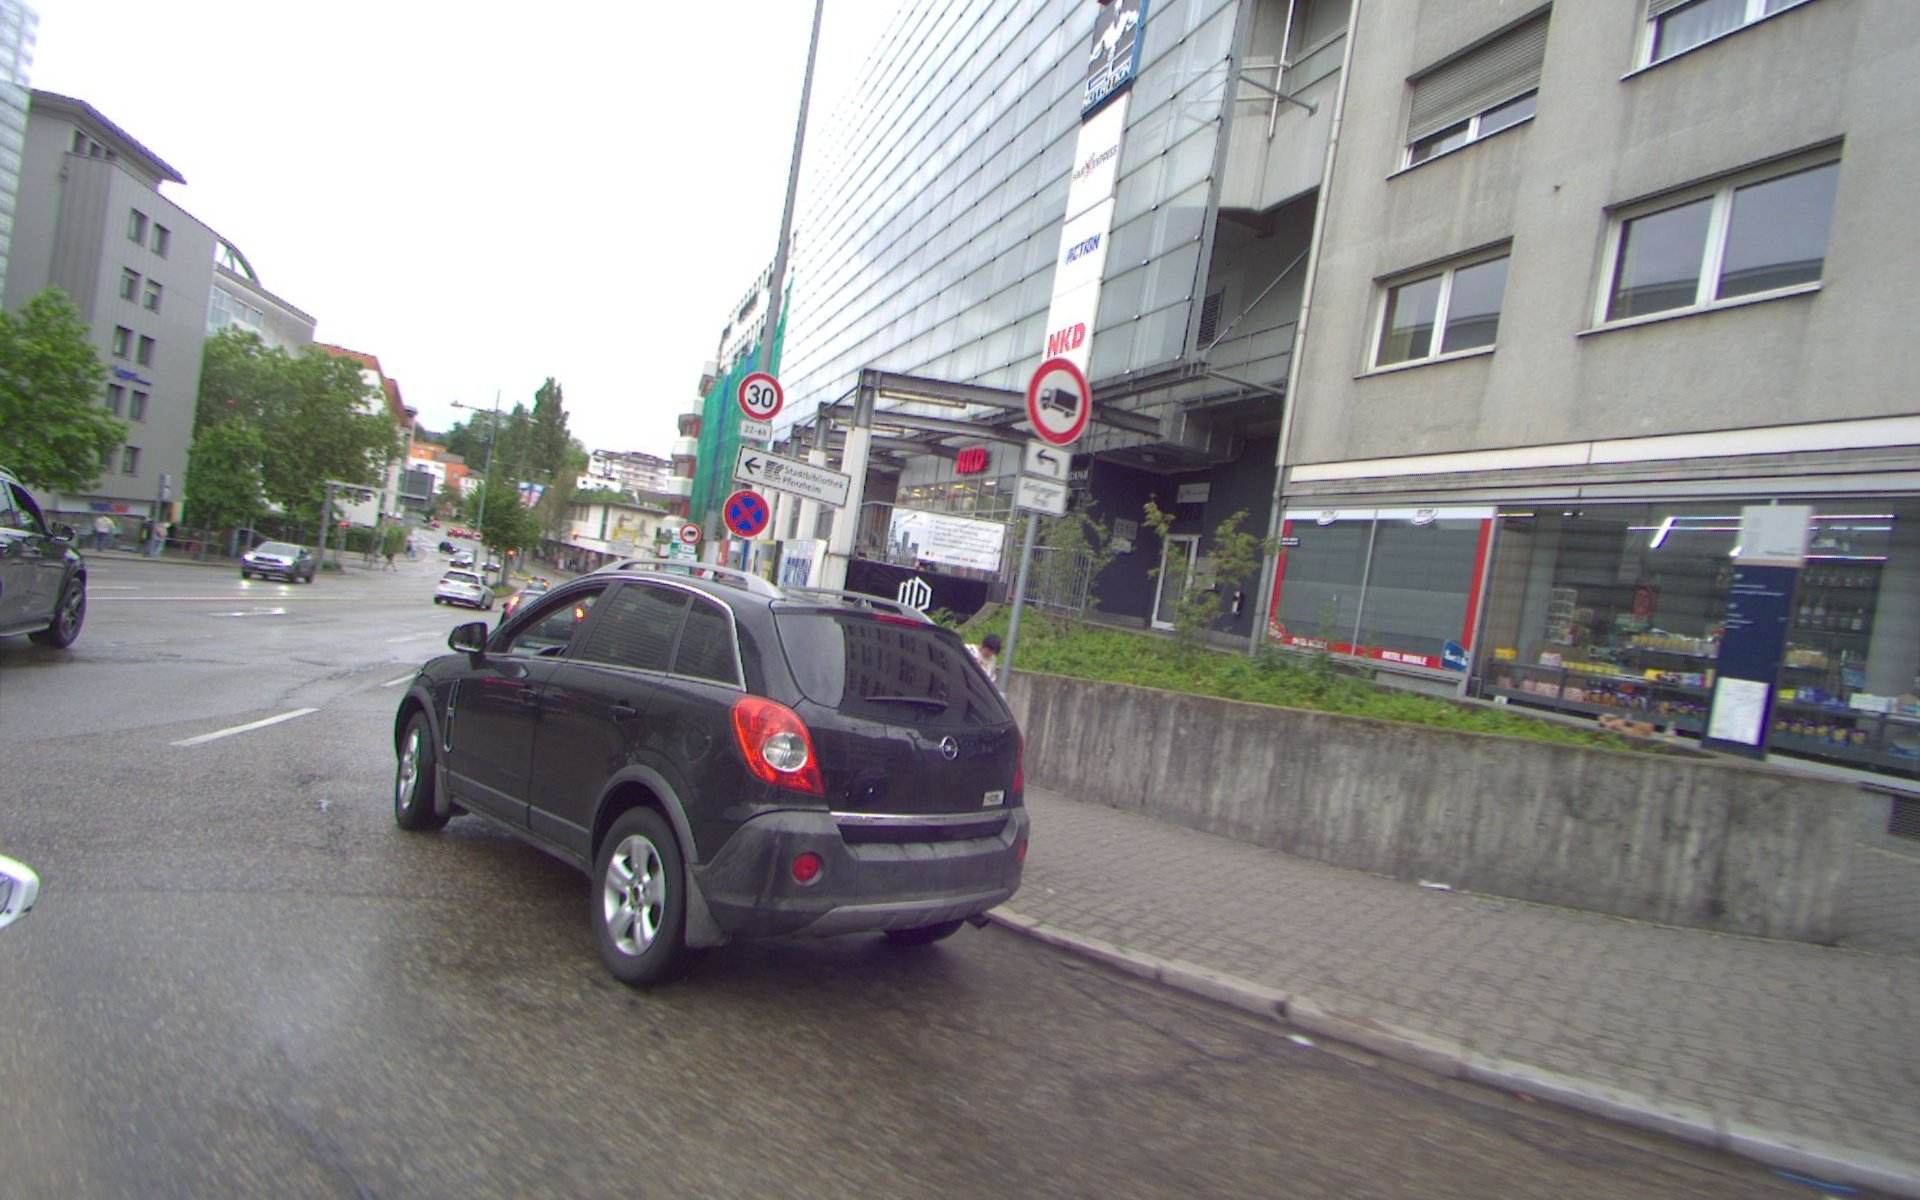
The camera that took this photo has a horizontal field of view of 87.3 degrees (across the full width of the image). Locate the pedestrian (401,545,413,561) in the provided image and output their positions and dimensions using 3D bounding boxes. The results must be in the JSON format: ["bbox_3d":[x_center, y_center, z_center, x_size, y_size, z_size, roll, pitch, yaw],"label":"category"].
[{"bbox_3d":[-61.801,-5.277,112.451,0.554,1.627,0.925,7,-1,30],"label":"pedestrian"}]

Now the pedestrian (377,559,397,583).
[{"bbox_3d":[-49.110,-2.502,86.204,1.049,1.904,0.836,7,0,-13],"label":"pedestrian"}]

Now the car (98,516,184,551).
[{"bbox_3d":[-66.638,-5.378,81.978,5.043,1.777,1.984,12,-3,-32],"label":"car"}]

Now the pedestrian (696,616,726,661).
[{"bbox_3d":[-7.297,1.134,29.530,0.681,1.222,0.553,7,0,-11],"label":"pedestrian"}]

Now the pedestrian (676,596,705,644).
[{"bbox_3d":[-10.543,0.776,39.315,0.824,1.743,0.828,7,-1,-11],"label":"pedestrian"}]

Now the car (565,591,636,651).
[{"bbox_3d":[-12.219,0.660,34.062,1.931,1.591,3.981,10,-2,-22],"label":"car"}]

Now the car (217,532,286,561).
[{"bbox_3d":[-60.562,-4.568,86.085,4.565,1.498,1.926,12,-3,-32],"label":"car"}]

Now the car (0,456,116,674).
[{"bbox_3d":[-9.484,-0.467,8.926,2.075,1.836,4.755,11,-3,-31],"label":"car"}]

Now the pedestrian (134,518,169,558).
[{"bbox_3d":[-37.228,-2.840,46.331,0.808,1.733,1.305,7,-1,-26],"label":"pedestrian"}]

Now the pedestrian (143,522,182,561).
[{"bbox_3d":[-39.684,-2.894,50.059,0.961,1.743,1.088,7,-1,-12],"label":"pedestrian"}]

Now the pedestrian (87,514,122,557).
[{"bbox_3d":[-38.356,-2.884,45.117,0.988,1.743,1.028,8,-1,-37],"label":"pedestrian"}]

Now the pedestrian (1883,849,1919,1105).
[{"bbox_3d":[4.392,1.162,3.918,0.773,1.894,0.616,4,5,-6],"label":"pedestrian"}]

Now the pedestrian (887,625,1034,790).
[{"bbox_3d":[-0.004,1.100,10.480,1.047,1.551,1.019,5,1,-30],"label":"pedestrian"}]

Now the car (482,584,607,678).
[{"bbox_3d":[-8.089,0.578,19.888,1.698,1.435,3.759,9,-3,-16],"label":"car"}]

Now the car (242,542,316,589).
[{"bbox_3d":[-27.094,-1.371,40.136,1.825,1.570,4.067,7,-1,-27],"label":"car"}]

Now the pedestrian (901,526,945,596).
[{"bbox_3d":[-0.961,-1.011,26.363,0.816,1.708,0.596,7,0,-20],"label":"pedestrian"}]

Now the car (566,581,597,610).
[{"bbox_3d":[-25.955,-0.345,68.931,1.744,1.560,3.980,9,-1,-22],"label":"car"}]

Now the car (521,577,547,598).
[{"bbox_3d":[-36.878,-1.125,87.198,1.777,1.485,3.980,10,-2,-22],"label":"car"}]

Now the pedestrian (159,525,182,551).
[{"bbox_3d":[-57.849,-4.528,73.743,0.746,1.743,0.951,7,-1,-6],"label":"pedestrian"}]

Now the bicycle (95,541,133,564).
[{"bbox_3d":[-48.083,-2.692,57.233,0.605,1.099,2.661,9,-2,-19],"label":"bicycle"}]

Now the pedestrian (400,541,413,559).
[{"bbox_3d":[-62.648,-5.663,113.852,0.617,1.824,0.904,7,-1,30],"label":"pedestrian"}]

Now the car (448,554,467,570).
[{"bbox_3d":[-55.613,-4.187,111.424,1.693,1.467,3.837,9,-2,-26],"label":"car"}]

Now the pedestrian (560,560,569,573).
[{"bbox_3d":[-57.008,-4.860,145.141,0.841,1.824,1.047,8,-1,-34],"label":"pedestrian"}]

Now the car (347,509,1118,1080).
[{"bbox_3d":[-1.535,0.642,5.556,4.243,1.806,1.905,8,-1,43],"label":"car"}]

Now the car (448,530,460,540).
[{"bbox_3d":[-97.999,-12.556,194.833,1.736,1.572,3.542,9,-2,-29],"label":"car"}]

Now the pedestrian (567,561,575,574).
[{"bbox_3d":[-56.518,-4.740,146.307,0.698,1.824,0.930,7,-1,-34],"label":"pedestrian"}]

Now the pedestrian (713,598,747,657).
[{"bbox_3d":[-7.185,0.848,31.454,0.824,1.743,0.616,7,0,-11],"label":"pedestrian"}]

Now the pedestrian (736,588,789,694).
[{"bbox_3d":[-3.719,0.746,18.924,0.593,1.863,1.007,7,0,-21],"label":"pedestrian"}]

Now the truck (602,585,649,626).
[{"bbox_3d":[-20.921,0.275,62.835,2.163,2.106,5.575,9,-2,-22],"label":"truck"}]

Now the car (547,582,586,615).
[{"bbox_3d":[-22.574,-0.111,57.590,1.796,1.457,3.978,11,-2,-23],"label":"car"}]

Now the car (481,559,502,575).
[{"bbox_3d":[-52.816,-3.716,113.466,1.804,1.566,3.978,9,-2,-24],"label":"car"}]

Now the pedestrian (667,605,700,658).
[{"bbox_3d":[-8.053,0.922,29.352,0.736,1.455,0.596,6,0,-11],"label":"pedestrian"}]

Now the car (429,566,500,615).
[{"bbox_3d":[-20.351,-0.395,41.464,1.930,1.591,3.984,9,-2,-19],"label":"car"}]
